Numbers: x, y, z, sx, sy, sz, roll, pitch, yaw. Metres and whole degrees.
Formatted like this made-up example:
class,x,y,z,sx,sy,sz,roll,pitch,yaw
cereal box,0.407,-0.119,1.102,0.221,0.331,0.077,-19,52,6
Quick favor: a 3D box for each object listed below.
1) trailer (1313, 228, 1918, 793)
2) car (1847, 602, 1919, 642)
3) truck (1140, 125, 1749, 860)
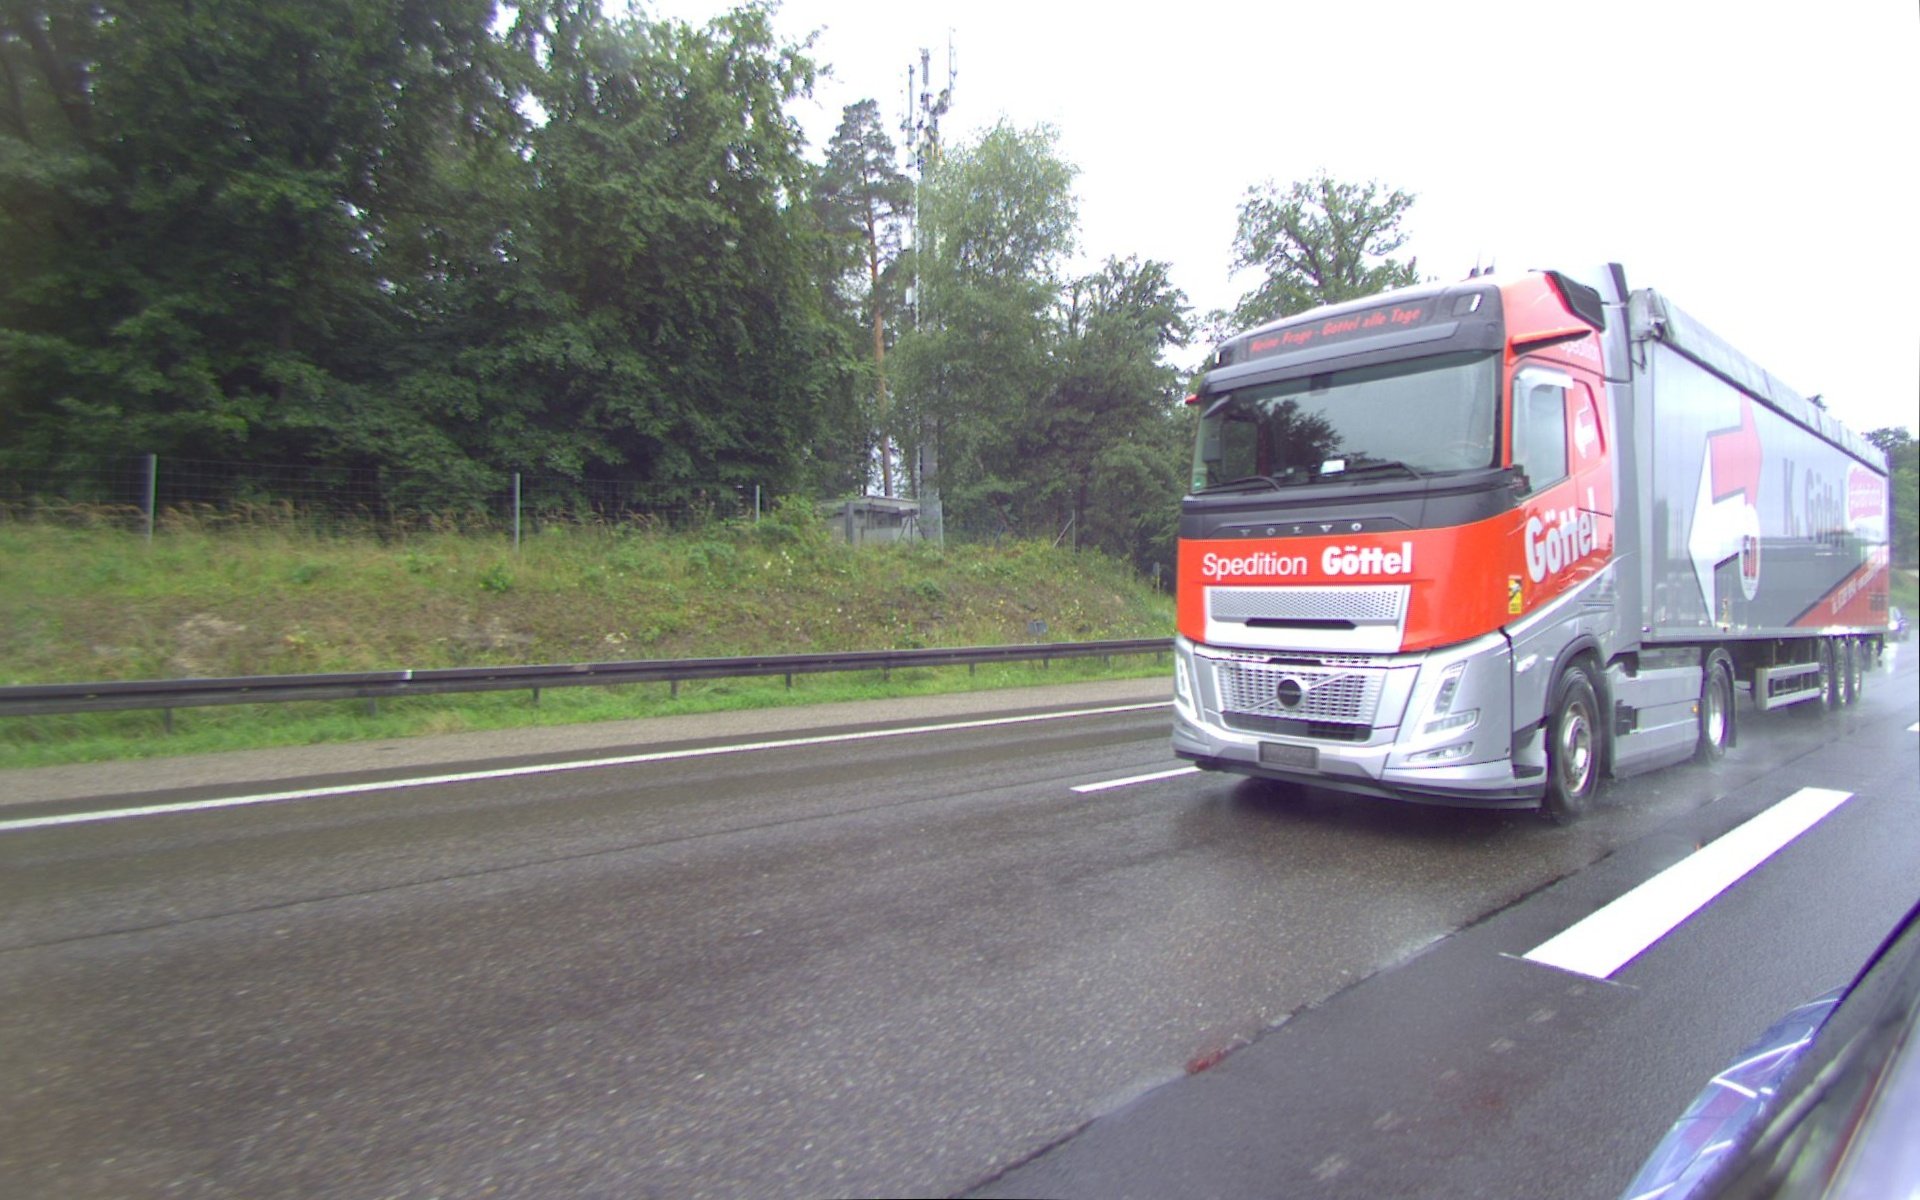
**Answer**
class,x,y,z,sx,sy,sz,roll,pitch,yaw
trailer,9.443,-0.664,12.875,14.326,4.007,2.606,0,0,-41
car,39.713,0.911,43.412,4.328,1.583,1.863,0,0,-40
truck,4.237,-0.603,8.329,5.503,4.007,2.605,0,0,-42
